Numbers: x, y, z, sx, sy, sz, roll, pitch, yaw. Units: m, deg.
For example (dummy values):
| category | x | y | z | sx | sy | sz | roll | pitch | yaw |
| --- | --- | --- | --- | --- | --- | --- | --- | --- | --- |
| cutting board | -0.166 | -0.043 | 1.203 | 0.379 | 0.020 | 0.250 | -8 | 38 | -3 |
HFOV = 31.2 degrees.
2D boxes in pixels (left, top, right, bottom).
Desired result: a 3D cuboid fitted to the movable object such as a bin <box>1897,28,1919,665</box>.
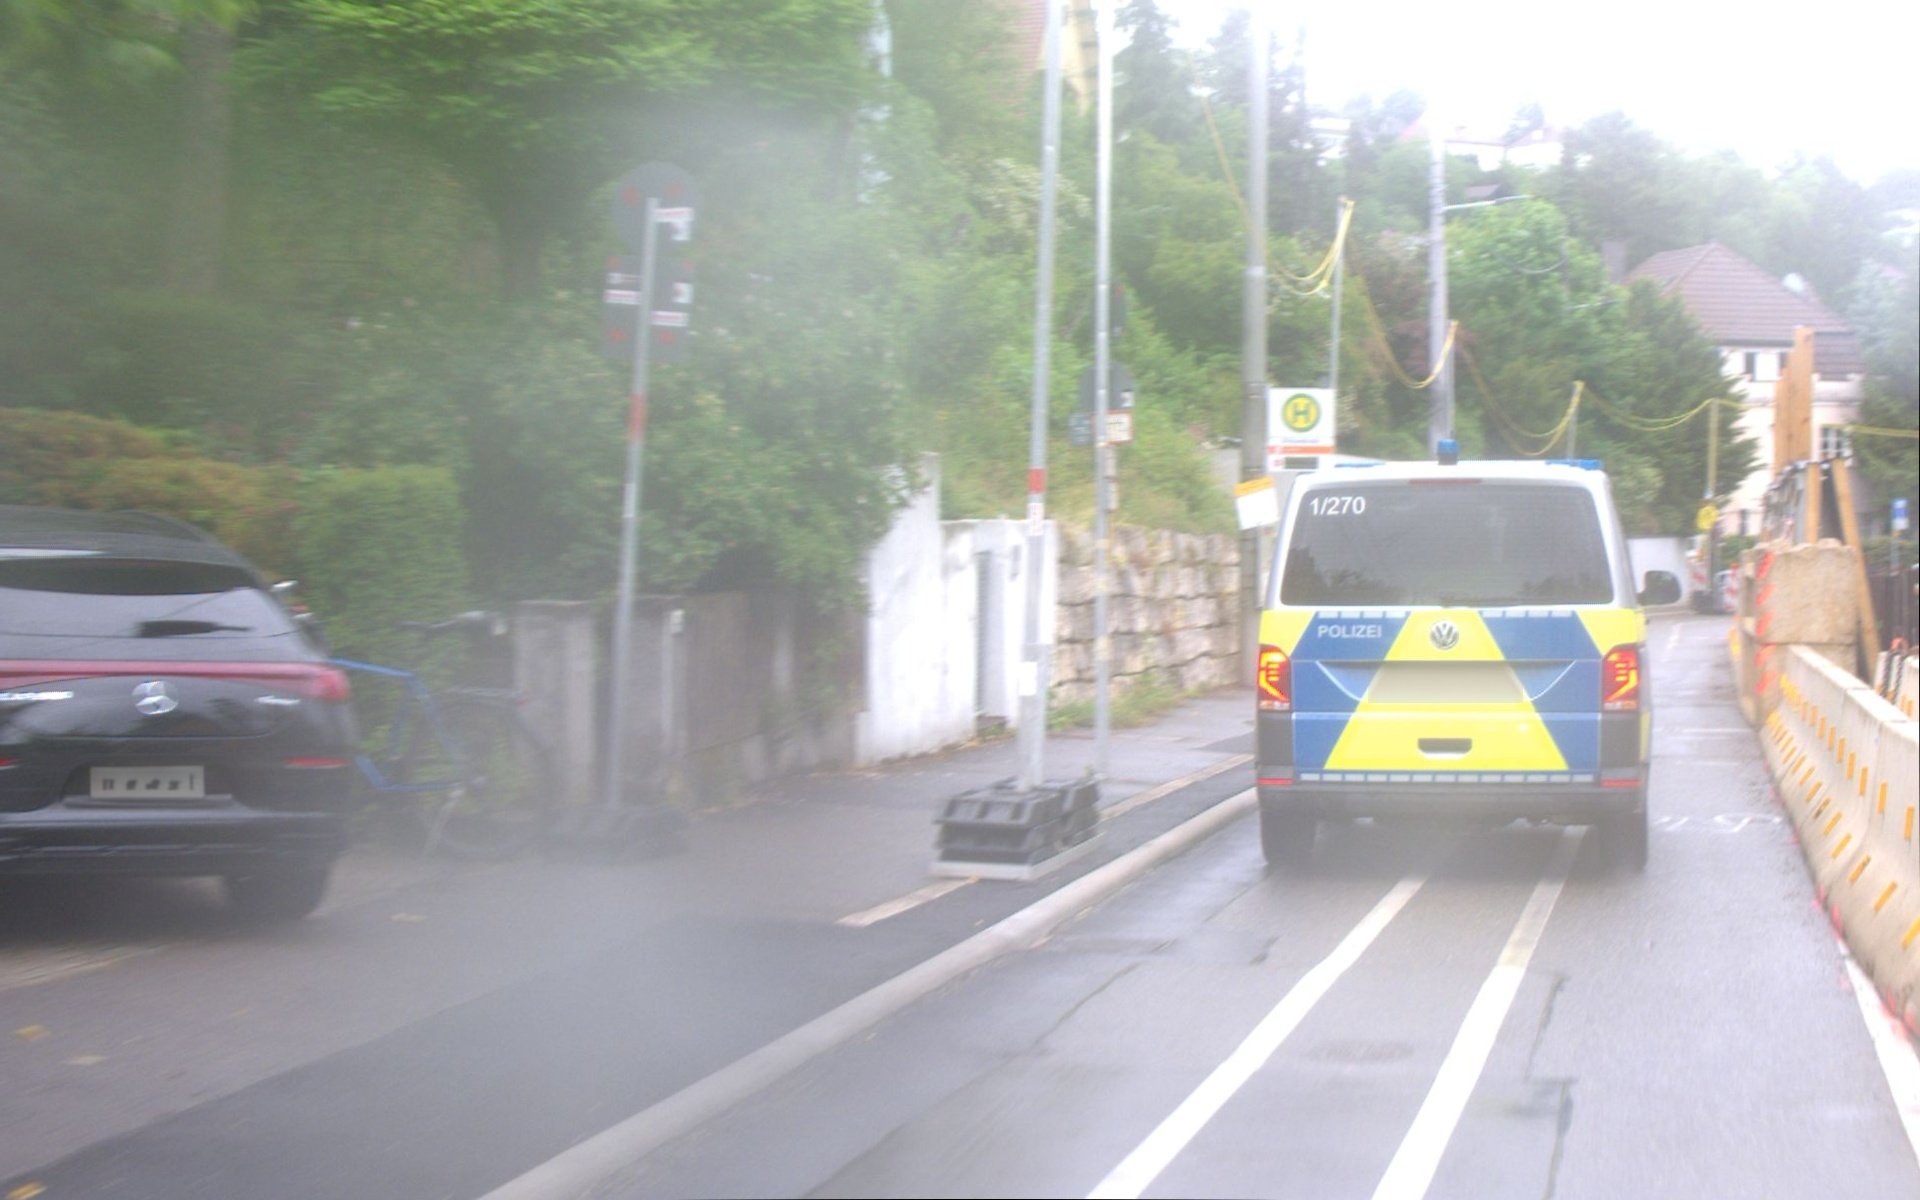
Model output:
| category | x | y | z | sx | sy | sz | roll | pitch | yaw |
| --- | --- | --- | --- | --- | --- | --- | --- | --- | --- |
| movable object such as a bin | 11.181 | -2.014 | 28.891 | 3.691 | 5.049 | 7.146 | 0 | 0 | 40 |

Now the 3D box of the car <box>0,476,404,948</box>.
| category | x | y | z | sx | sy | sz | roll | pitch | yaw |
| --- | --- | --- | --- | --- | --- | --- | --- | --- | --- |
| car | -3.701 | 0.315 | 13.025 | 1.780 | 1.520 | 4.000 | 2 | 1 | -30 |

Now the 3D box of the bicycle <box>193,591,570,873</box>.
| category | x | y | z | sx | sy | sz | roll | pitch | yaw |
| --- | --- | --- | --- | --- | --- | --- | --- | --- | --- |
| bicycle | -2.513 | 0.552 | 14.889 | 1.620 | 1.127 | 0.442 | 2 | 0 | 26 |

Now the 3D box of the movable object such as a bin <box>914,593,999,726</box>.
| category | x | y | z | sx | sy | sz | roll | pitch | yaw |
| --- | --- | --- | --- | --- | --- | --- | --- | --- | --- |
| movable object such as a bin | -0.025 | 0.440 | 25.701 | 0.507 | 0.961 | 0.498 | 2 | 0 | 12 |

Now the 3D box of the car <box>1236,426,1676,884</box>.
| category | x | y | z | sx | sy | sz | roll | pitch | yaw |
| --- | --- | --- | --- | --- | --- | --- | --- | --- | --- |
| car | 2.666 | 0.237 | 17.738 | 1.909 | 2.003 | 4.437 | 2 | 0 | 11 |
